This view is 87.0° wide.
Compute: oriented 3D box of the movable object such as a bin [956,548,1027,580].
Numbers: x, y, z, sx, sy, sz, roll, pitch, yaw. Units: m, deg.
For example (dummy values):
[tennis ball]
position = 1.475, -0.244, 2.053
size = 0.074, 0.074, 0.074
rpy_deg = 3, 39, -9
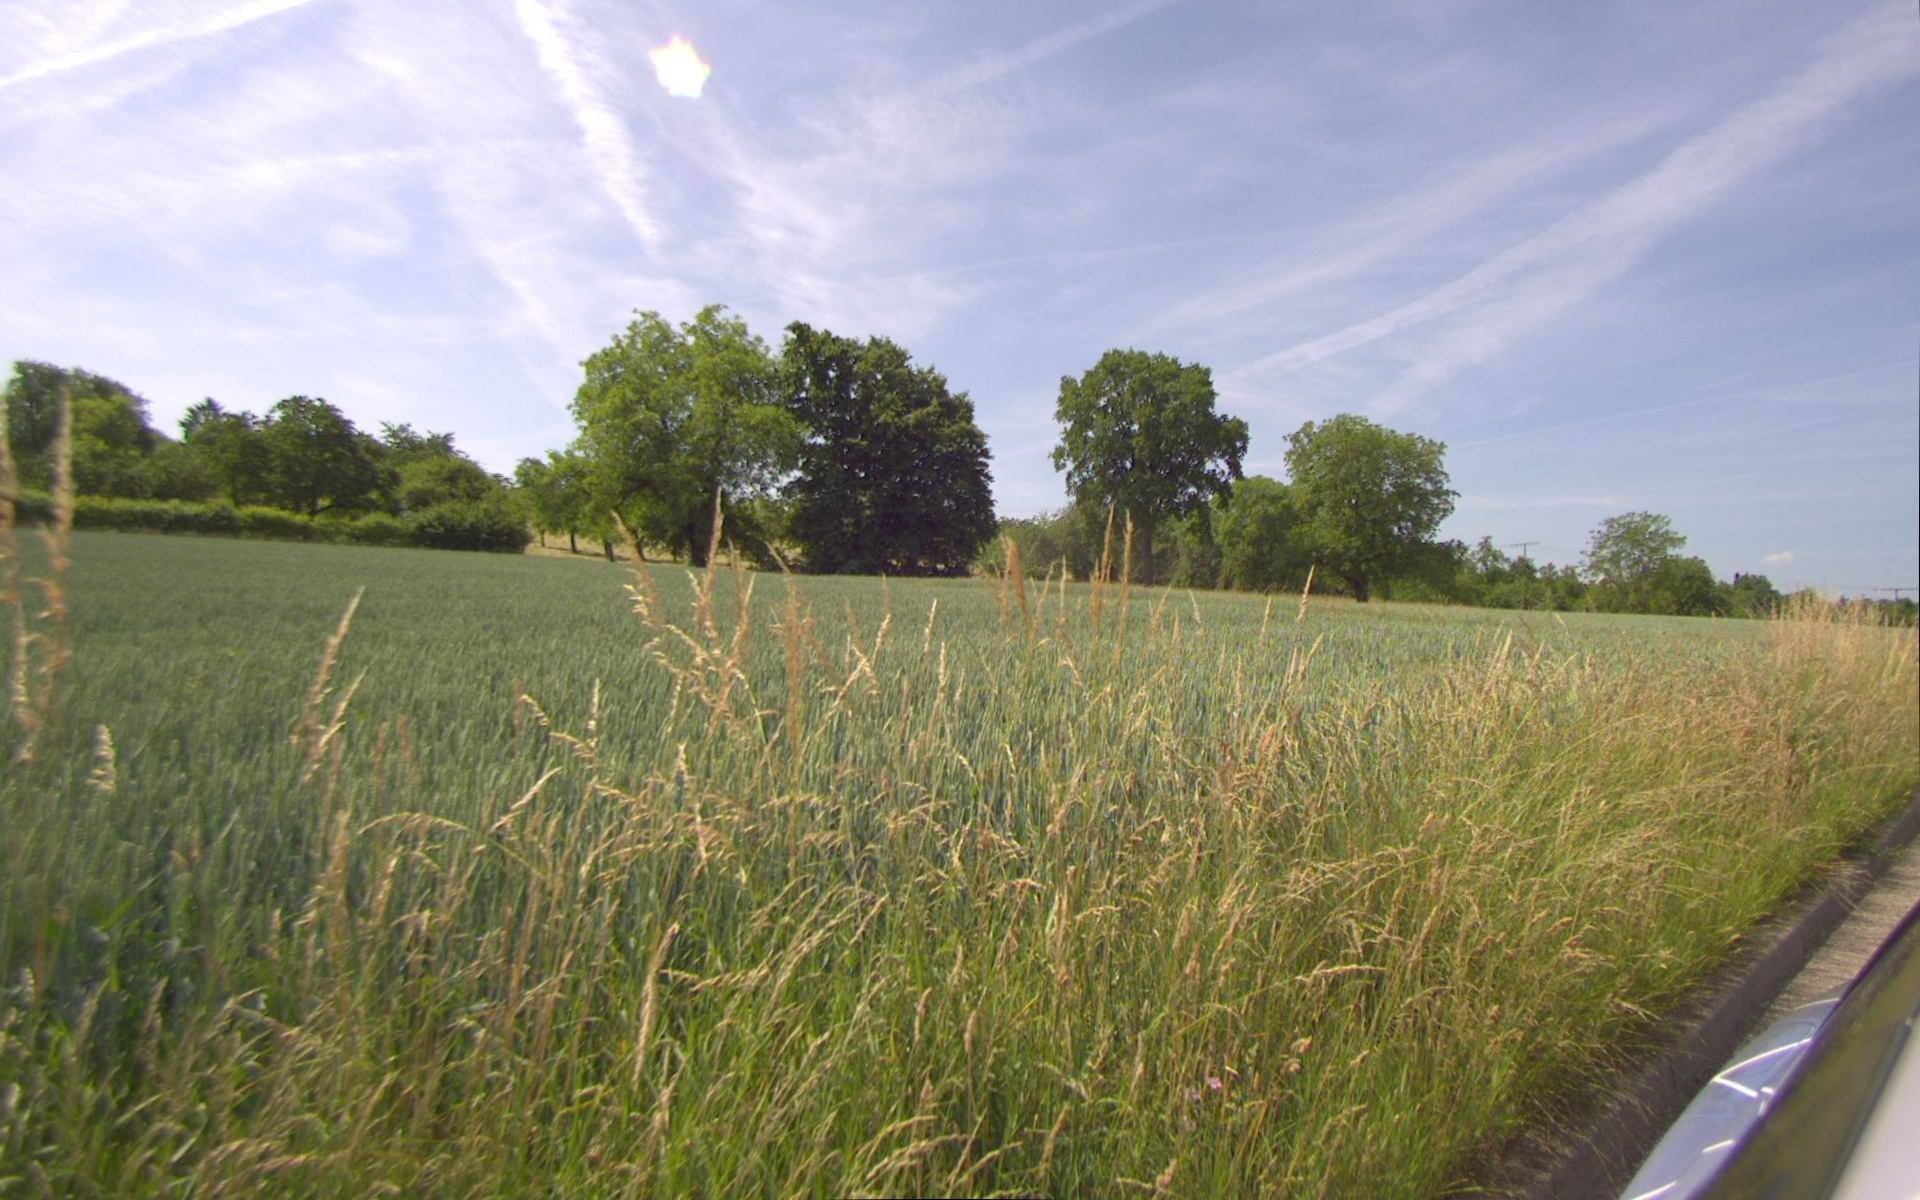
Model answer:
[movable object such as a bin]
position = 2.653, -3.180, 87.863
size = 2.400, 2.398, 6.577
rpy_deg = 2, 3, -37
